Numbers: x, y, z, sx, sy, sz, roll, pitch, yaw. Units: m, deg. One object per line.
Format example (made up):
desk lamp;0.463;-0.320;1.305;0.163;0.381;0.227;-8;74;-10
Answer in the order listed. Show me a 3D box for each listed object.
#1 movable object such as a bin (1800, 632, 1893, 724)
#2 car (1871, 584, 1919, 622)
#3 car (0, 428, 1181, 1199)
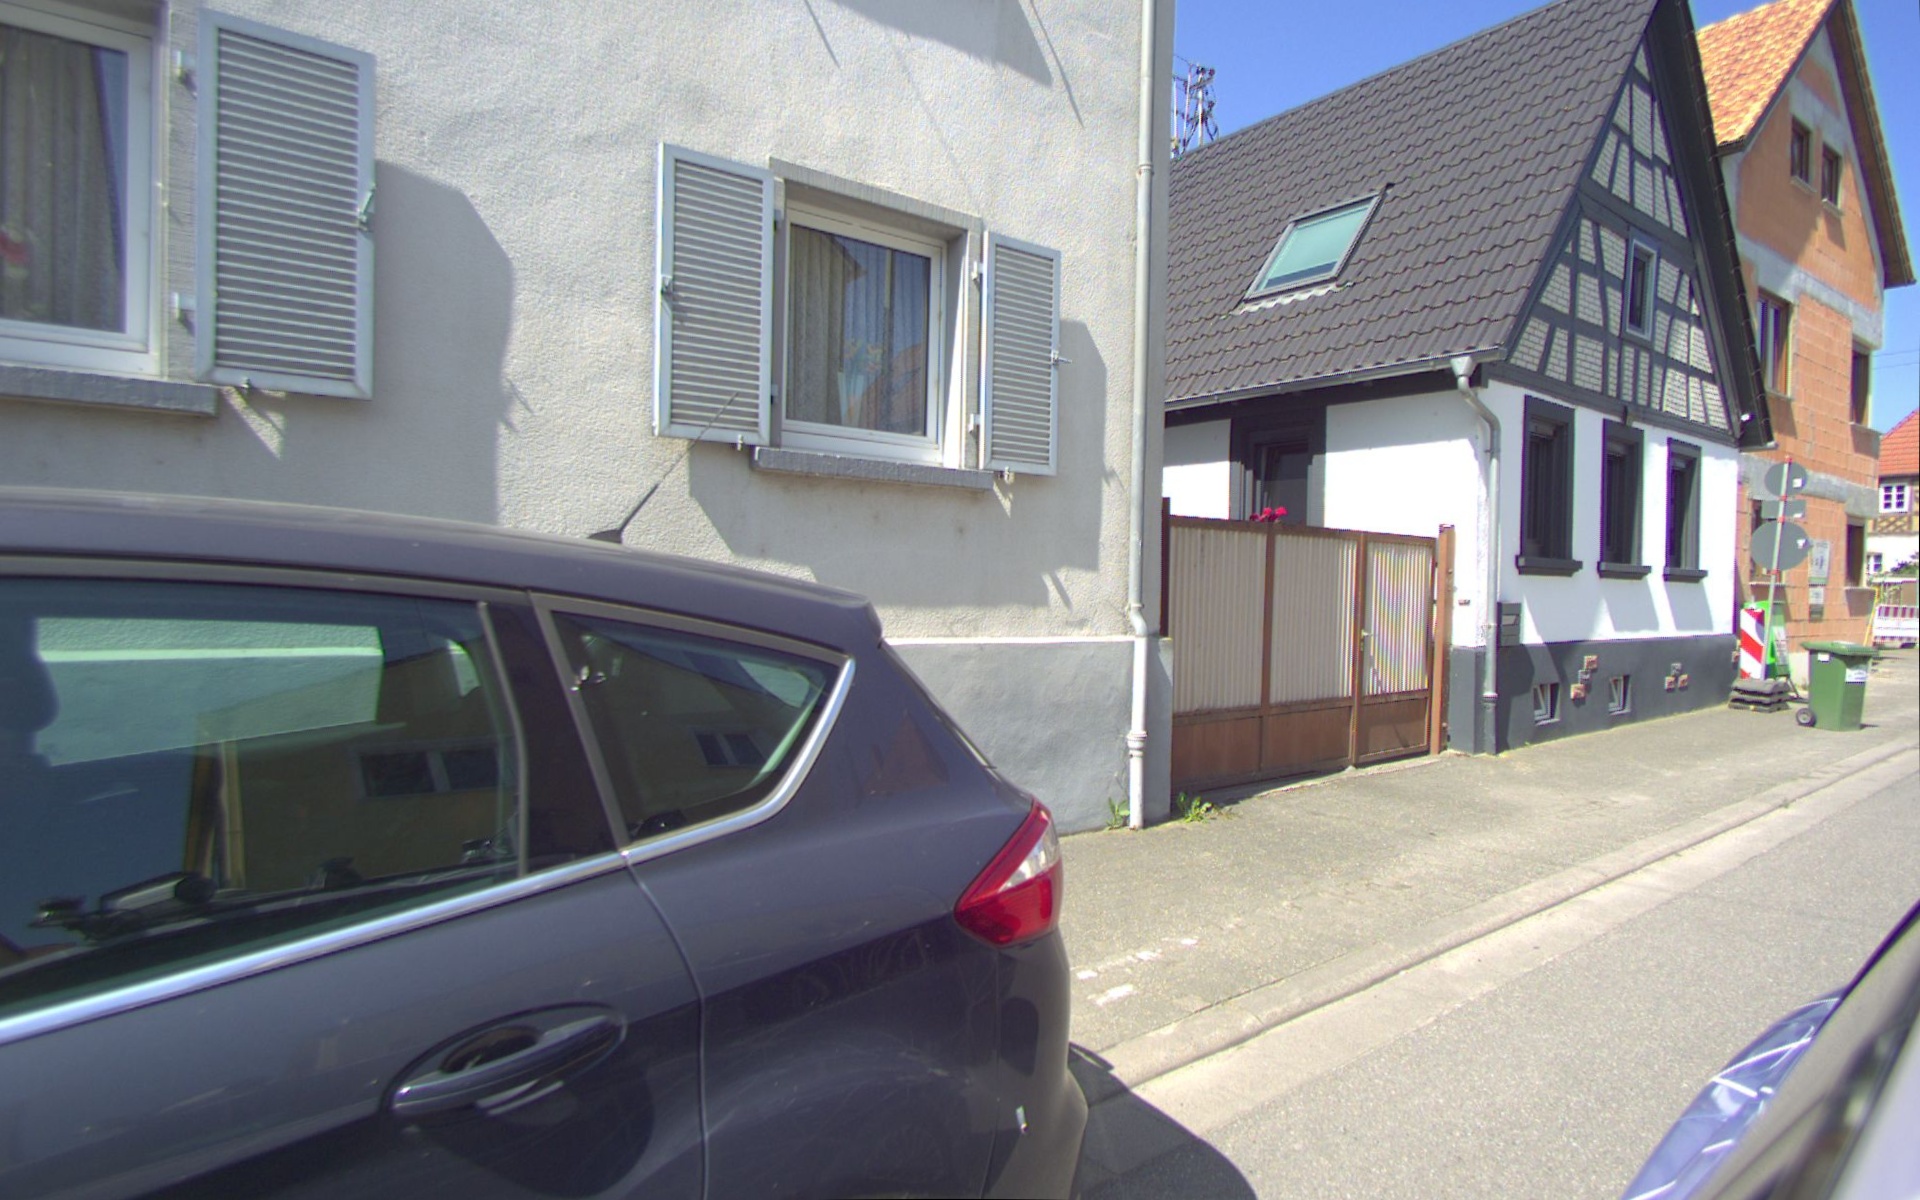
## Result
movable object such as a bin;9.542;0.825;10.907;0.540;0.925;0.541;0;1;-19
car;39.569;0.175;40.064;1.959;1.470;4.777;0;2;-25
car;-2.005;0.627;1.048;4.544;1.579;1.803;0;2;-36
